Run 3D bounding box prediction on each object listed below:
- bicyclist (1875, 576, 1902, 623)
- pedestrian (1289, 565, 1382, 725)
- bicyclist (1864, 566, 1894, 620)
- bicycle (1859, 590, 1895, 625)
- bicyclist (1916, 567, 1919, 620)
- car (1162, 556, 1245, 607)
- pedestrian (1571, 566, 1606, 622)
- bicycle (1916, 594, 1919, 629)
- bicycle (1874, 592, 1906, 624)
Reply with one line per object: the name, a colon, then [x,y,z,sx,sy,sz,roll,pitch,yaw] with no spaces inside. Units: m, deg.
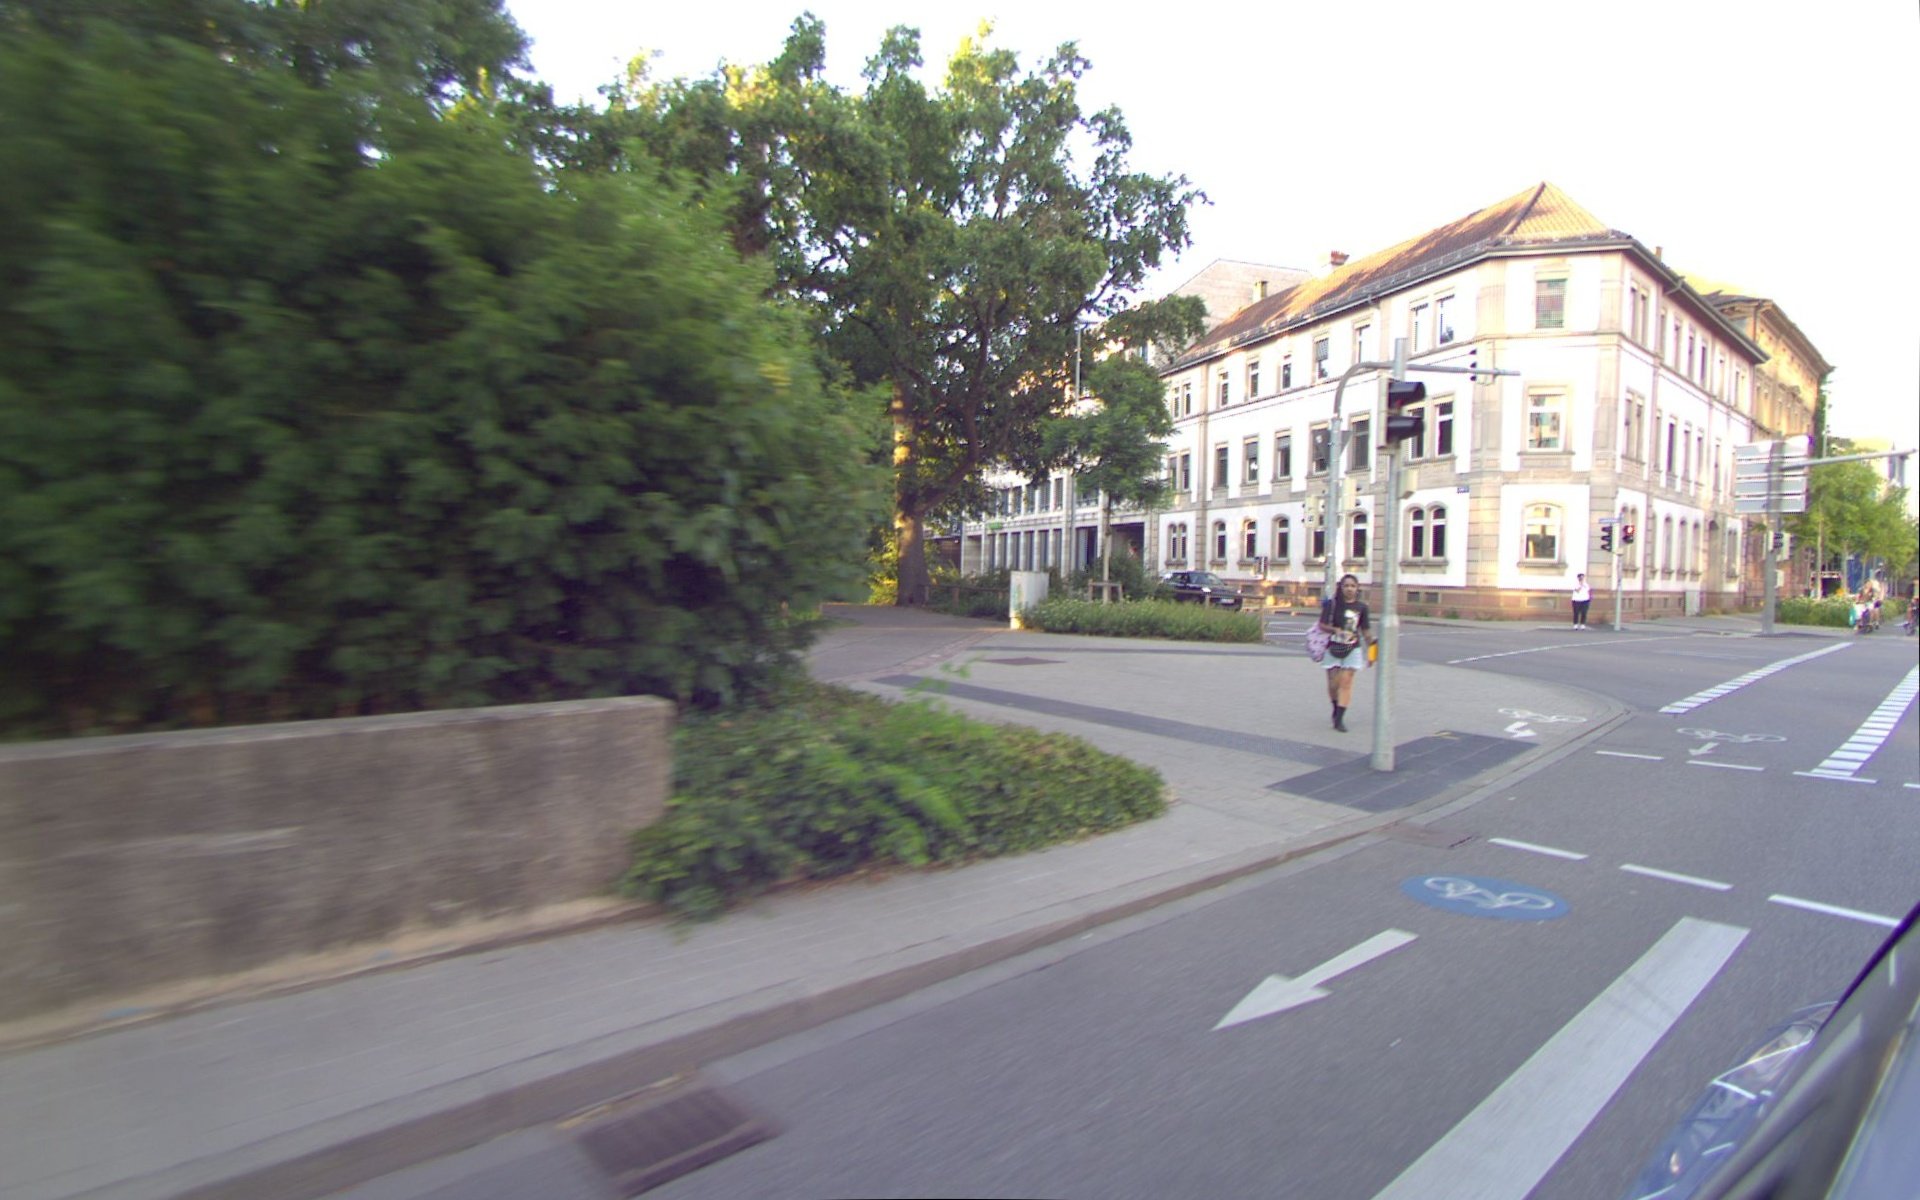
bicyclist: [32.154,-0.016,35.042,0.680,1.567,0.512,0,3,-40]
pedestrian: [3.757,0.426,10.127,0.607,1.522,0.581,0,3,-36]
bicyclist: [30.745,-0.244,33.848,0.754,1.721,0.510,-2,6,-39]
bicycle: [30.689,0.248,33.851,2.011,1.063,0.529,-2,6,-39]
bicyclist: [31.634,-0.216,32.973,0.703,1.722,0.756,-1,1,44]
car: [8.489,-0.640,35.572,1.795,1.535,3.578,5,1,-2]
pedestrian: [19.161,-0.202,30.884,0.811,1.677,0.630,2,2,28]
bicycle: [31.529,0.358,32.860,0.719,1.064,2.012,0,1,43]
bicycle: [32.416,0.264,35.282,2.007,1.064,0.517,0,3,-40]
